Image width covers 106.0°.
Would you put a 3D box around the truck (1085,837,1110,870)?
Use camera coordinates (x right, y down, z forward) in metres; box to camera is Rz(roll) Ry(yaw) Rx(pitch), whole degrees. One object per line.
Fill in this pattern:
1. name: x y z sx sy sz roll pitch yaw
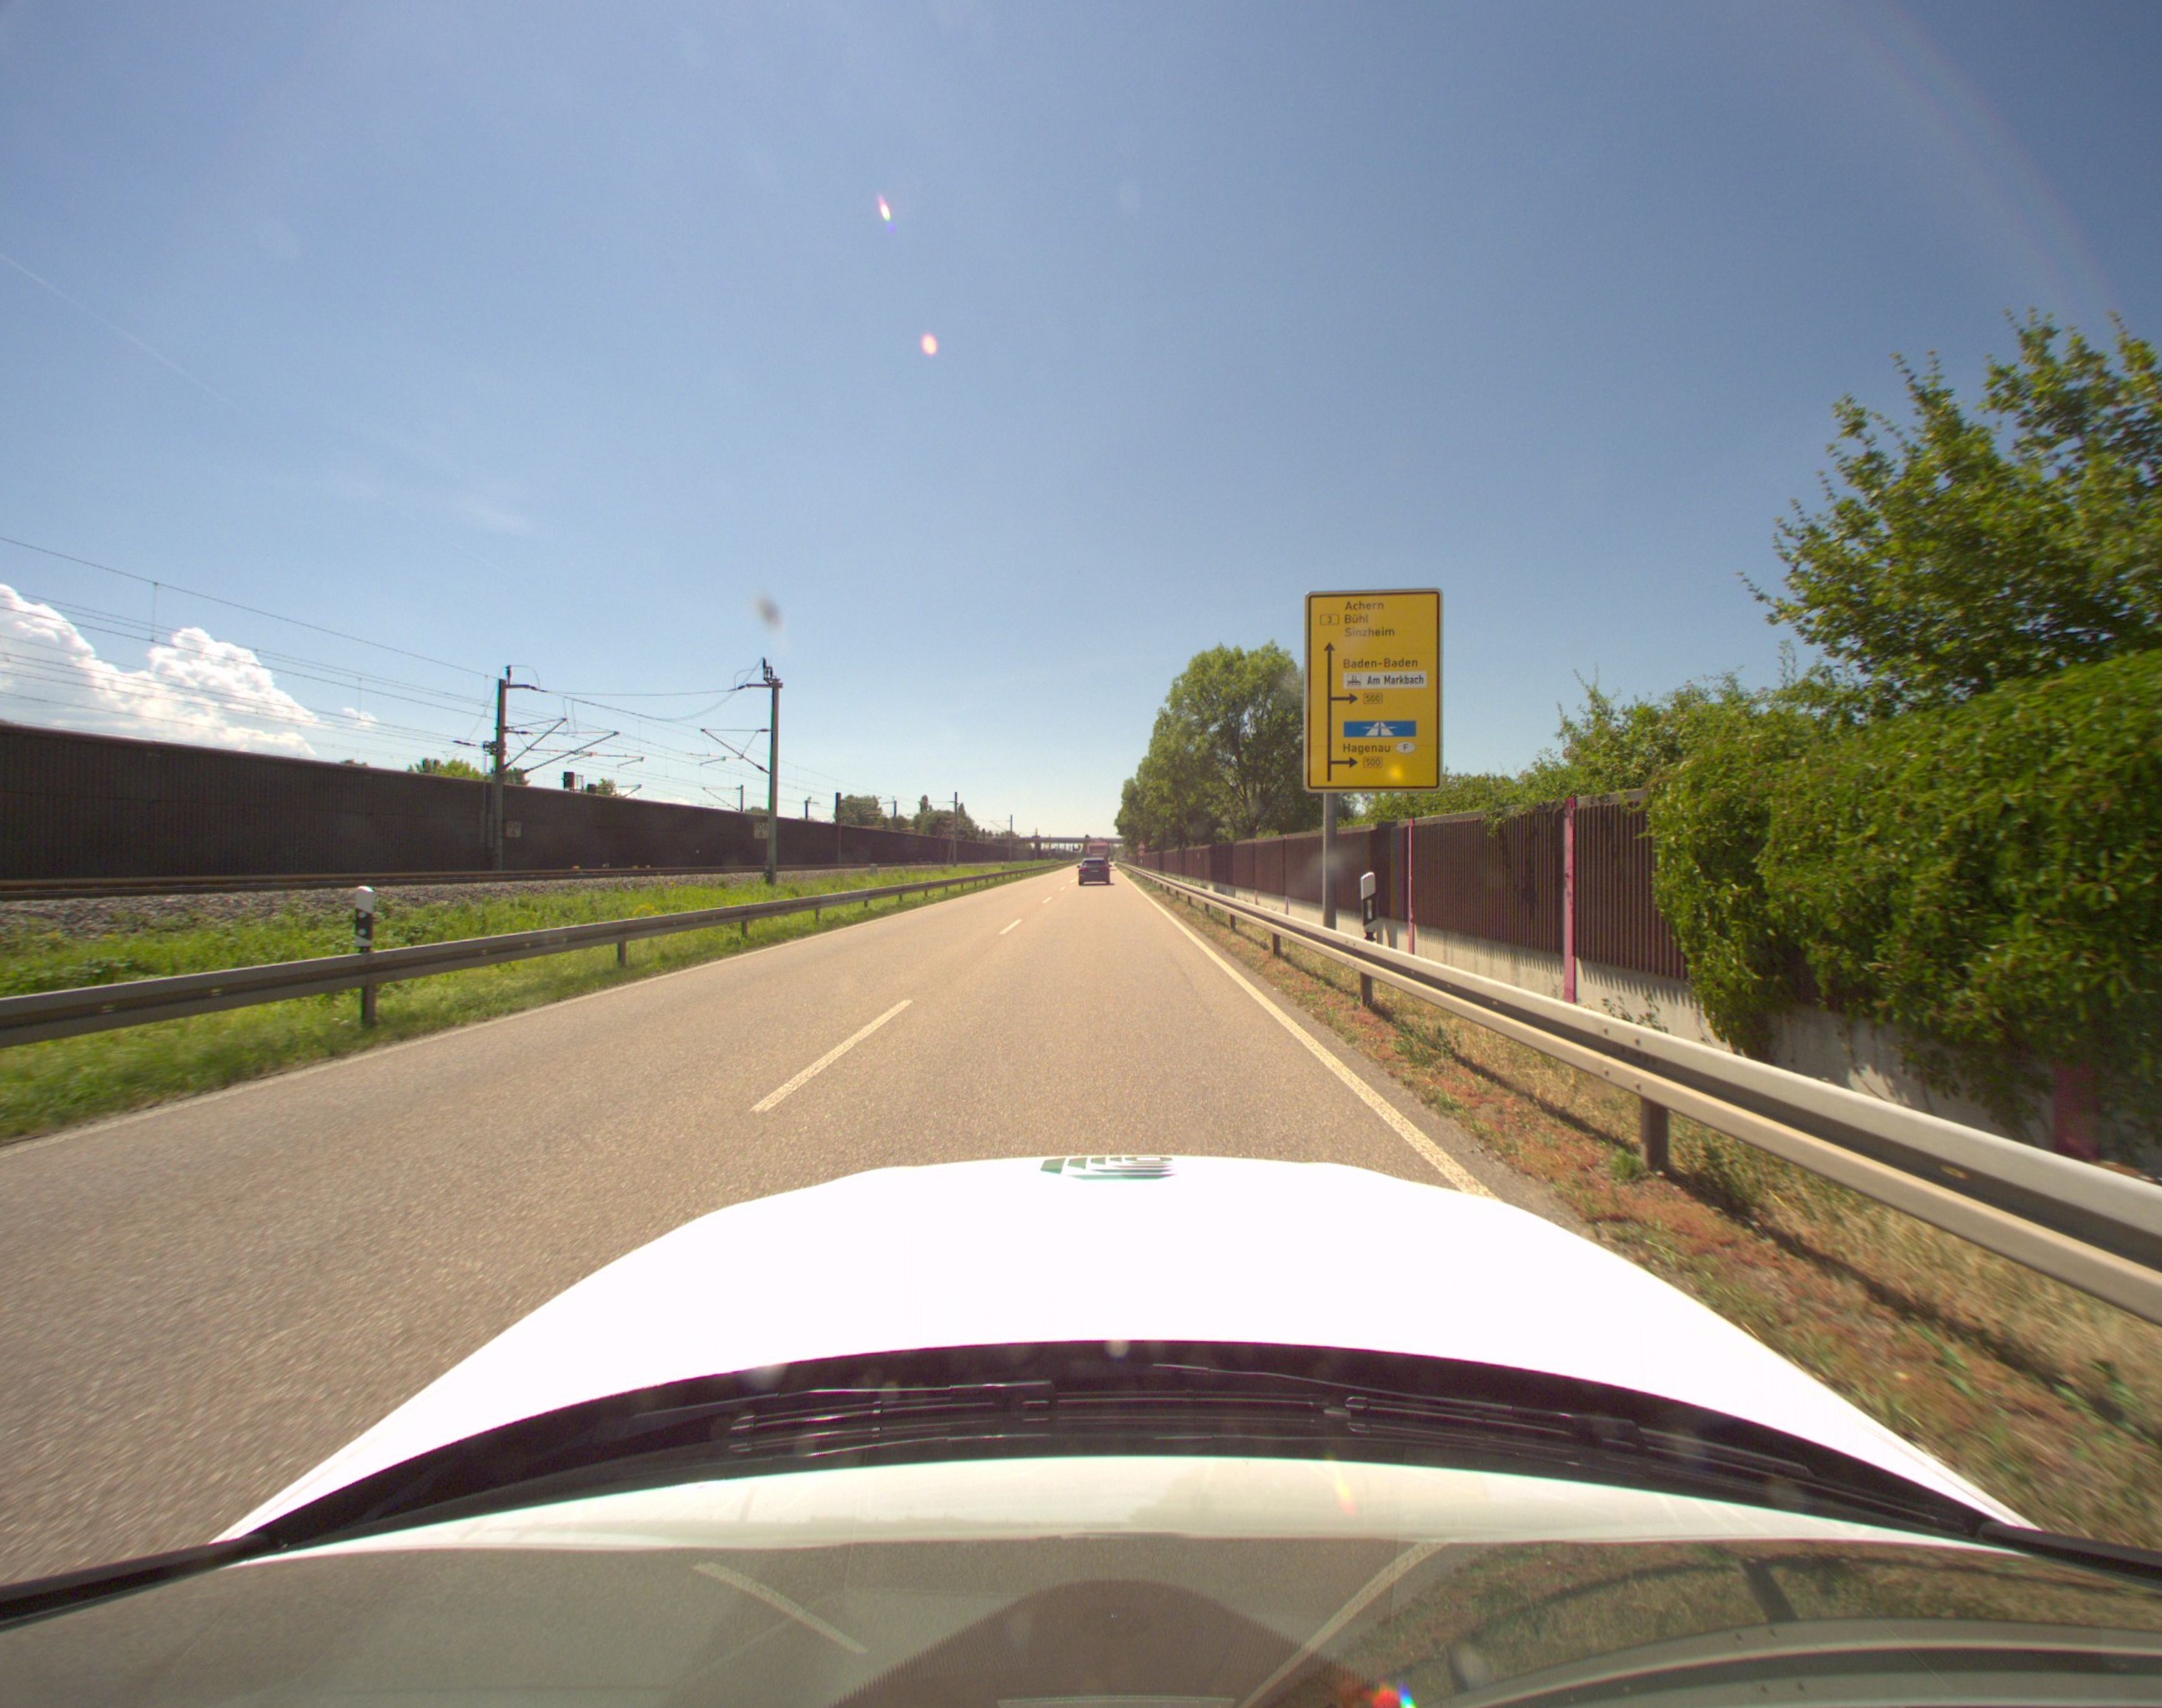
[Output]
1. truck: 2.117 0.033 101.500 2.823 3.821 11.889 -1 0 2

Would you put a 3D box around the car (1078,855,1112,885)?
1. car: 0.875 0.915 47.525 1.837 1.623 4.228 -1 -1 3
